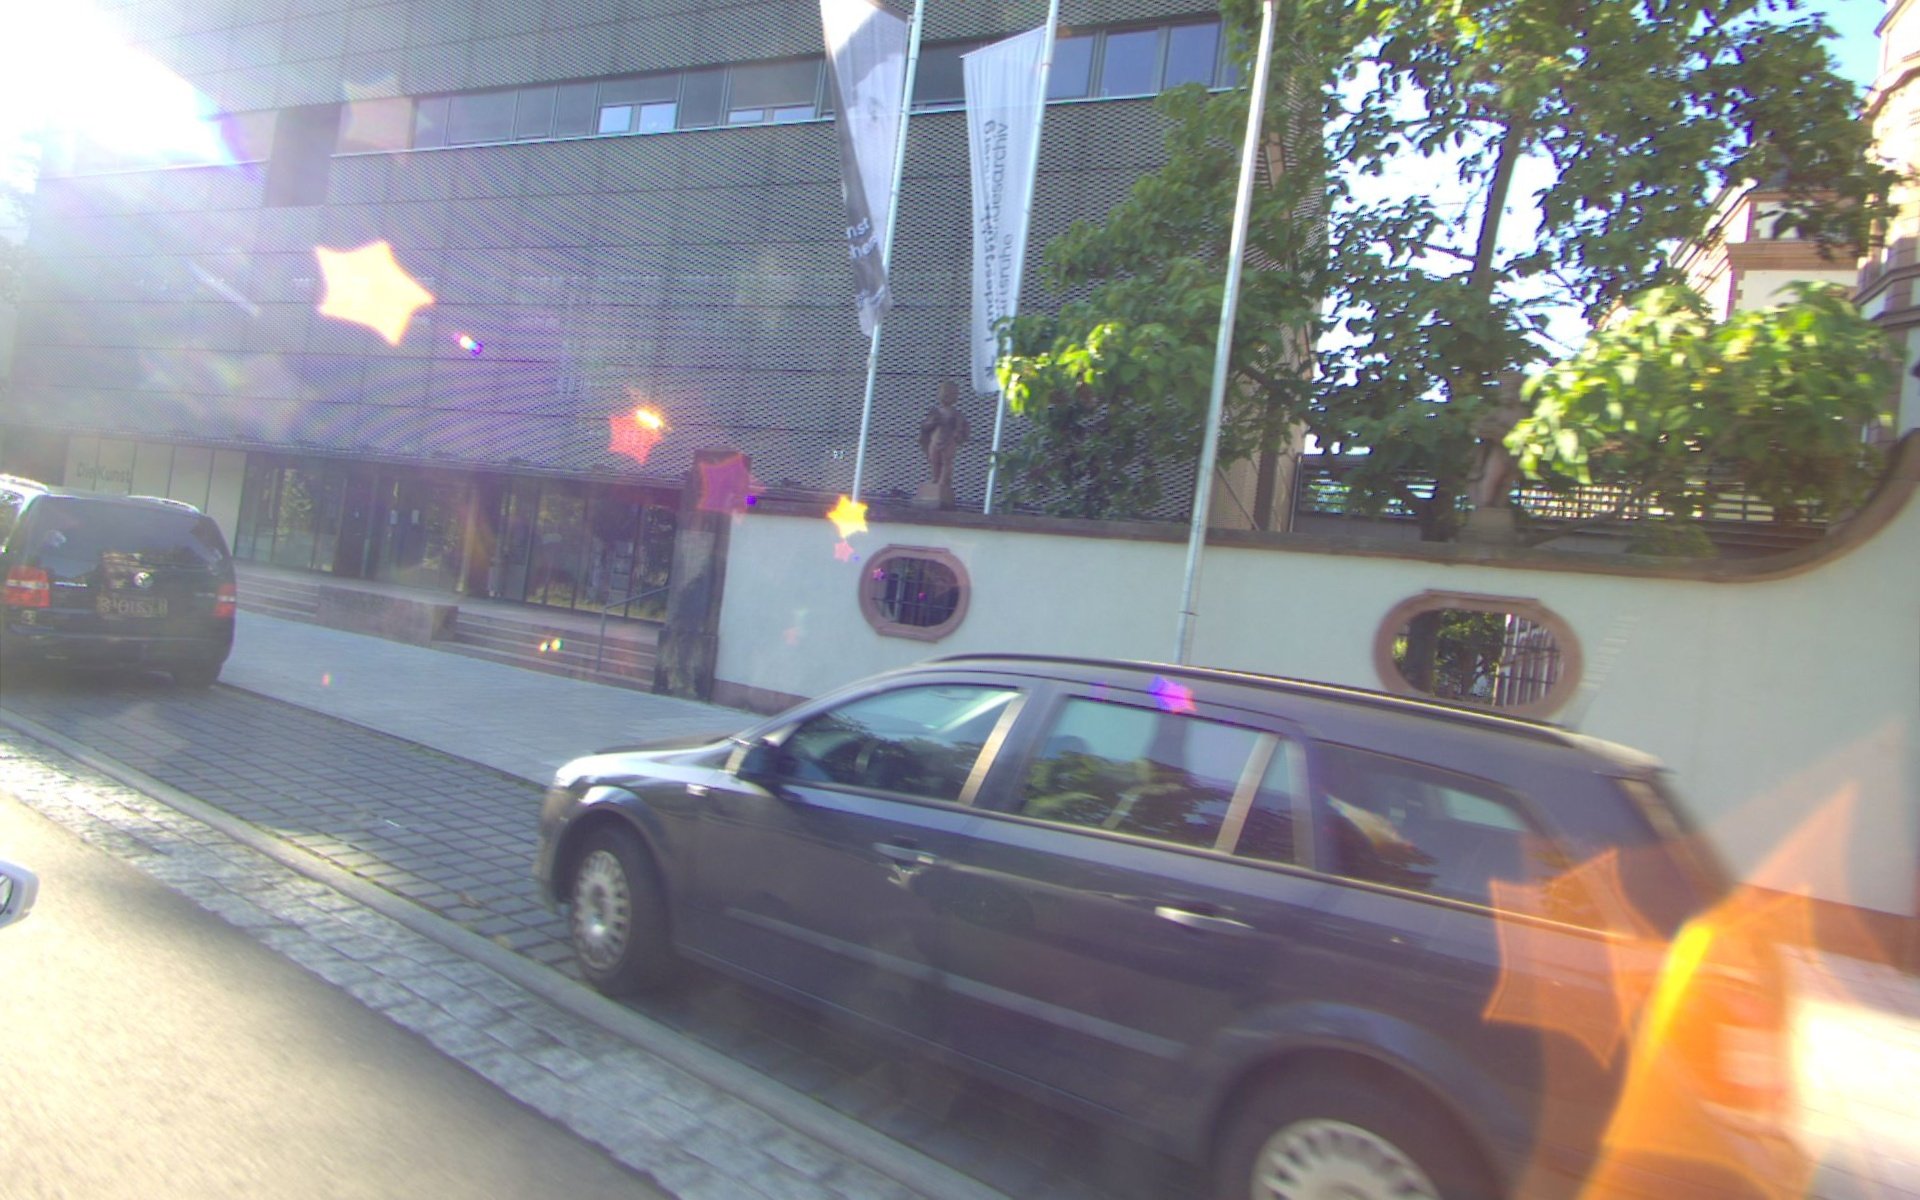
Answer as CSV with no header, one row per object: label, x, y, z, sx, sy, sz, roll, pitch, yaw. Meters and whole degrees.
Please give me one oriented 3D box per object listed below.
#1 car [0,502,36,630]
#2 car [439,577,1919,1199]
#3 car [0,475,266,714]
car,-13.071,-0.644,12.176,3.841,1.439,1.726,8,1,31
car,0.247,0.965,3.726,4.403,1.484,1.750,8,0,32
car,-8.345,-0.205,9.099,4.043,1.690,1.726,8,2,30
